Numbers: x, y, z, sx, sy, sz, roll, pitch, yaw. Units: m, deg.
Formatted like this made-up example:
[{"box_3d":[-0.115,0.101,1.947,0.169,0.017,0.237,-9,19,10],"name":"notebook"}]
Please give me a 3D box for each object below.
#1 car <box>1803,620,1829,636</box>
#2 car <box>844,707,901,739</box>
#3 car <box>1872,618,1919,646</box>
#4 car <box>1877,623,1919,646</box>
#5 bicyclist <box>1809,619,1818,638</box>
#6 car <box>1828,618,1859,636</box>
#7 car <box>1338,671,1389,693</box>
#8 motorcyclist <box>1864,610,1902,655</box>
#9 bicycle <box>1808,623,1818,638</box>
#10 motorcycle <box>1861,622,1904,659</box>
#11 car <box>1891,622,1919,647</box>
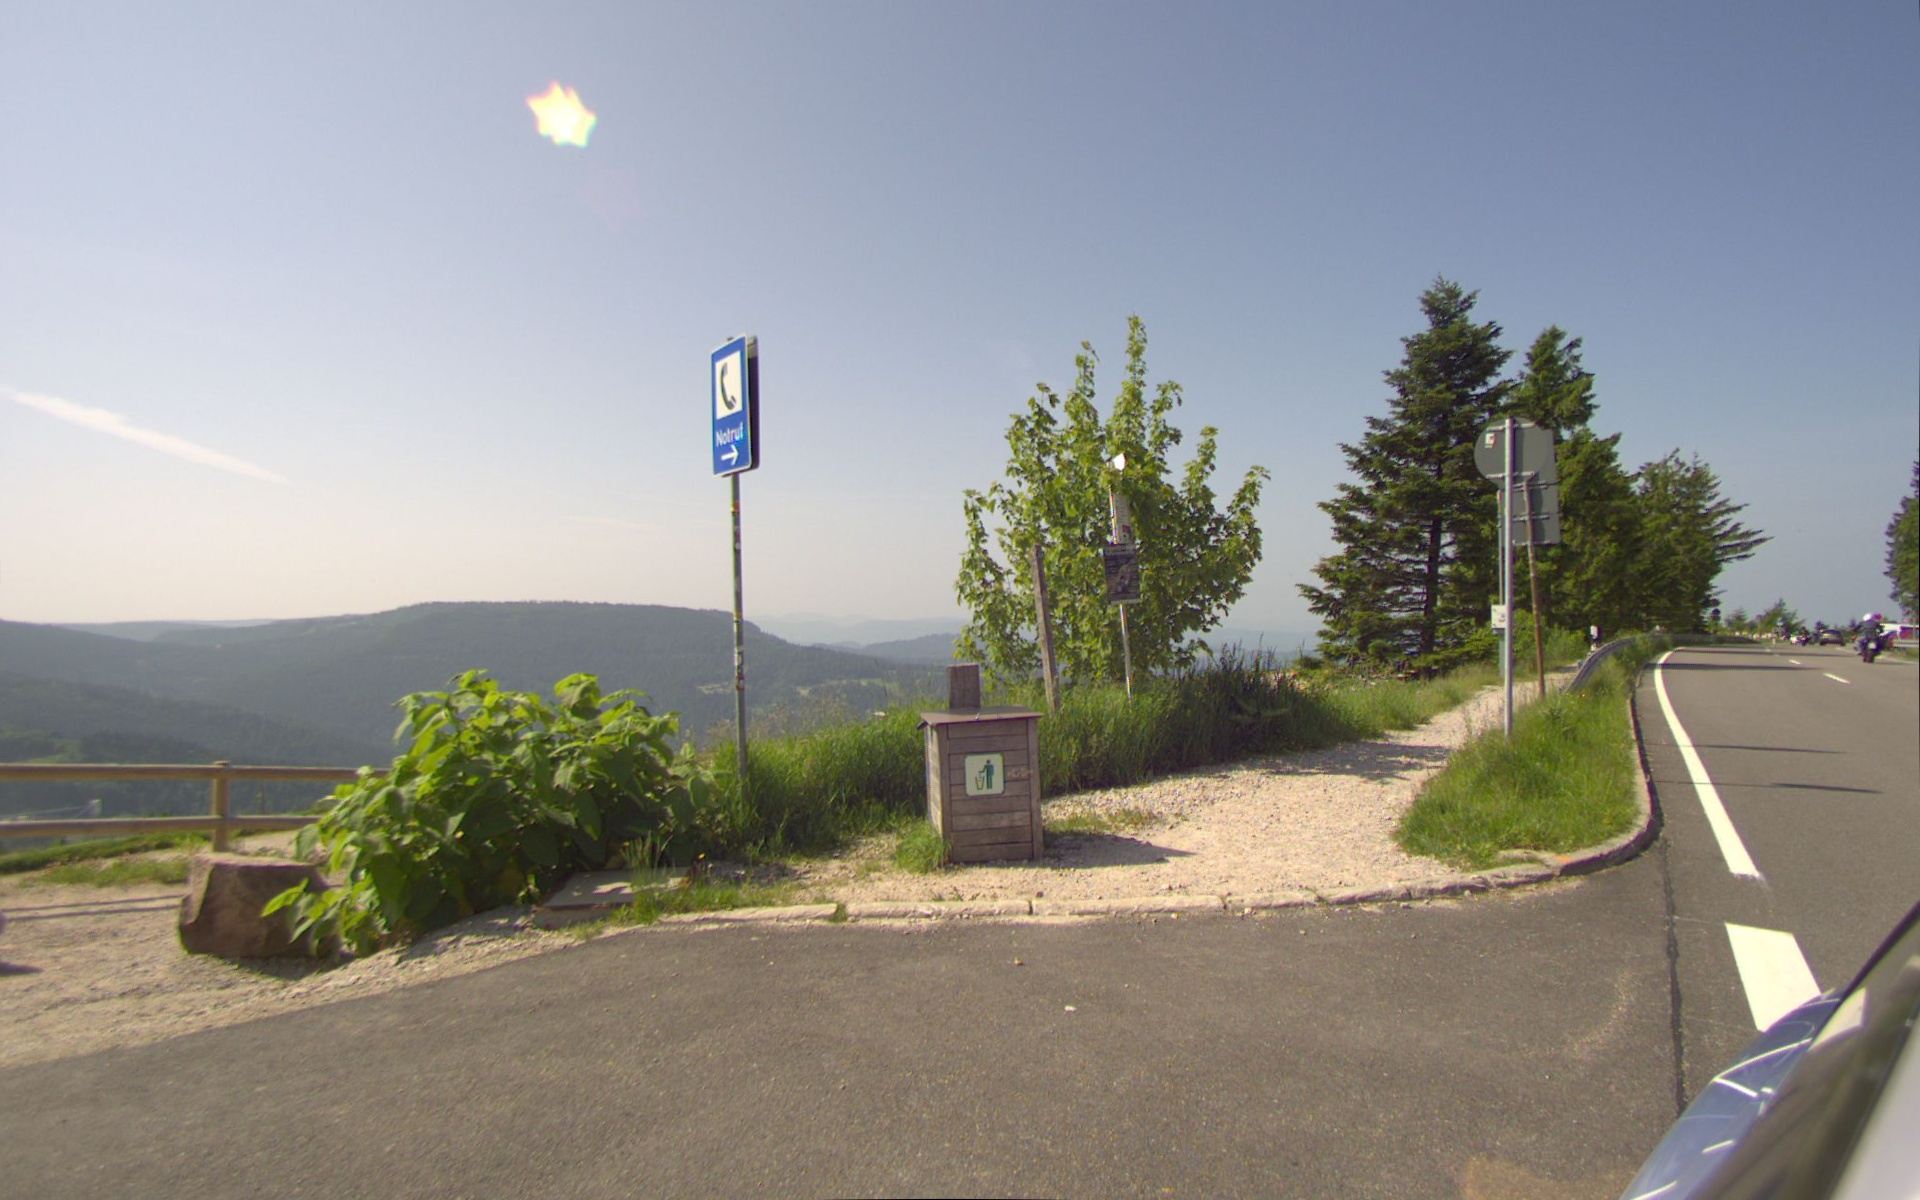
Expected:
[{"box_3d":[93.781,3.023,110.852,1.993,1.616,3.938,1,0,43],"name":"car"},{"box_3d":[-5.623,7.868,65.004,3.512,1.687,1.773,0,-1,44],"name":"car"},{"box_3d":[69.654,2.351,73.558,4.705,1.905,1.907,2,1,36],"name":"car"},{"box_3d":[61.950,2.269,65.305,3.908,1.391,1.907,2,1,36],"name":"car"},{"box_3d":[71.424,2.377,84.708,0.545,1.547,0.669,1,-1,43],"name":"bicyclist"},{"box_3d":[86.677,2.632,99.269,3.933,1.616,1.995,1,0,-44],"name":"car"},{"box_3d":[35.926,7.253,90.128,1.810,1.616,3.775,-2,1,-38],"name":"car"},{"box_3d":[31.007,1.070,34.013,0.837,1.459,0.992,1,1,37],"name":"motorcyclist"},{"box_3d":[71.473,2.523,84.760,0.545,1.243,1.829,1,0,43],"name":"bicycle"},{"box_3d":[30.971,1.345,33.989,0.837,1.110,2.154,1,1,37],"name":"motorcycle"},{"box_3d":[60.784,2.208,62.910,4.145,1.529,1.904,3,1,41],"name":"car"}]
